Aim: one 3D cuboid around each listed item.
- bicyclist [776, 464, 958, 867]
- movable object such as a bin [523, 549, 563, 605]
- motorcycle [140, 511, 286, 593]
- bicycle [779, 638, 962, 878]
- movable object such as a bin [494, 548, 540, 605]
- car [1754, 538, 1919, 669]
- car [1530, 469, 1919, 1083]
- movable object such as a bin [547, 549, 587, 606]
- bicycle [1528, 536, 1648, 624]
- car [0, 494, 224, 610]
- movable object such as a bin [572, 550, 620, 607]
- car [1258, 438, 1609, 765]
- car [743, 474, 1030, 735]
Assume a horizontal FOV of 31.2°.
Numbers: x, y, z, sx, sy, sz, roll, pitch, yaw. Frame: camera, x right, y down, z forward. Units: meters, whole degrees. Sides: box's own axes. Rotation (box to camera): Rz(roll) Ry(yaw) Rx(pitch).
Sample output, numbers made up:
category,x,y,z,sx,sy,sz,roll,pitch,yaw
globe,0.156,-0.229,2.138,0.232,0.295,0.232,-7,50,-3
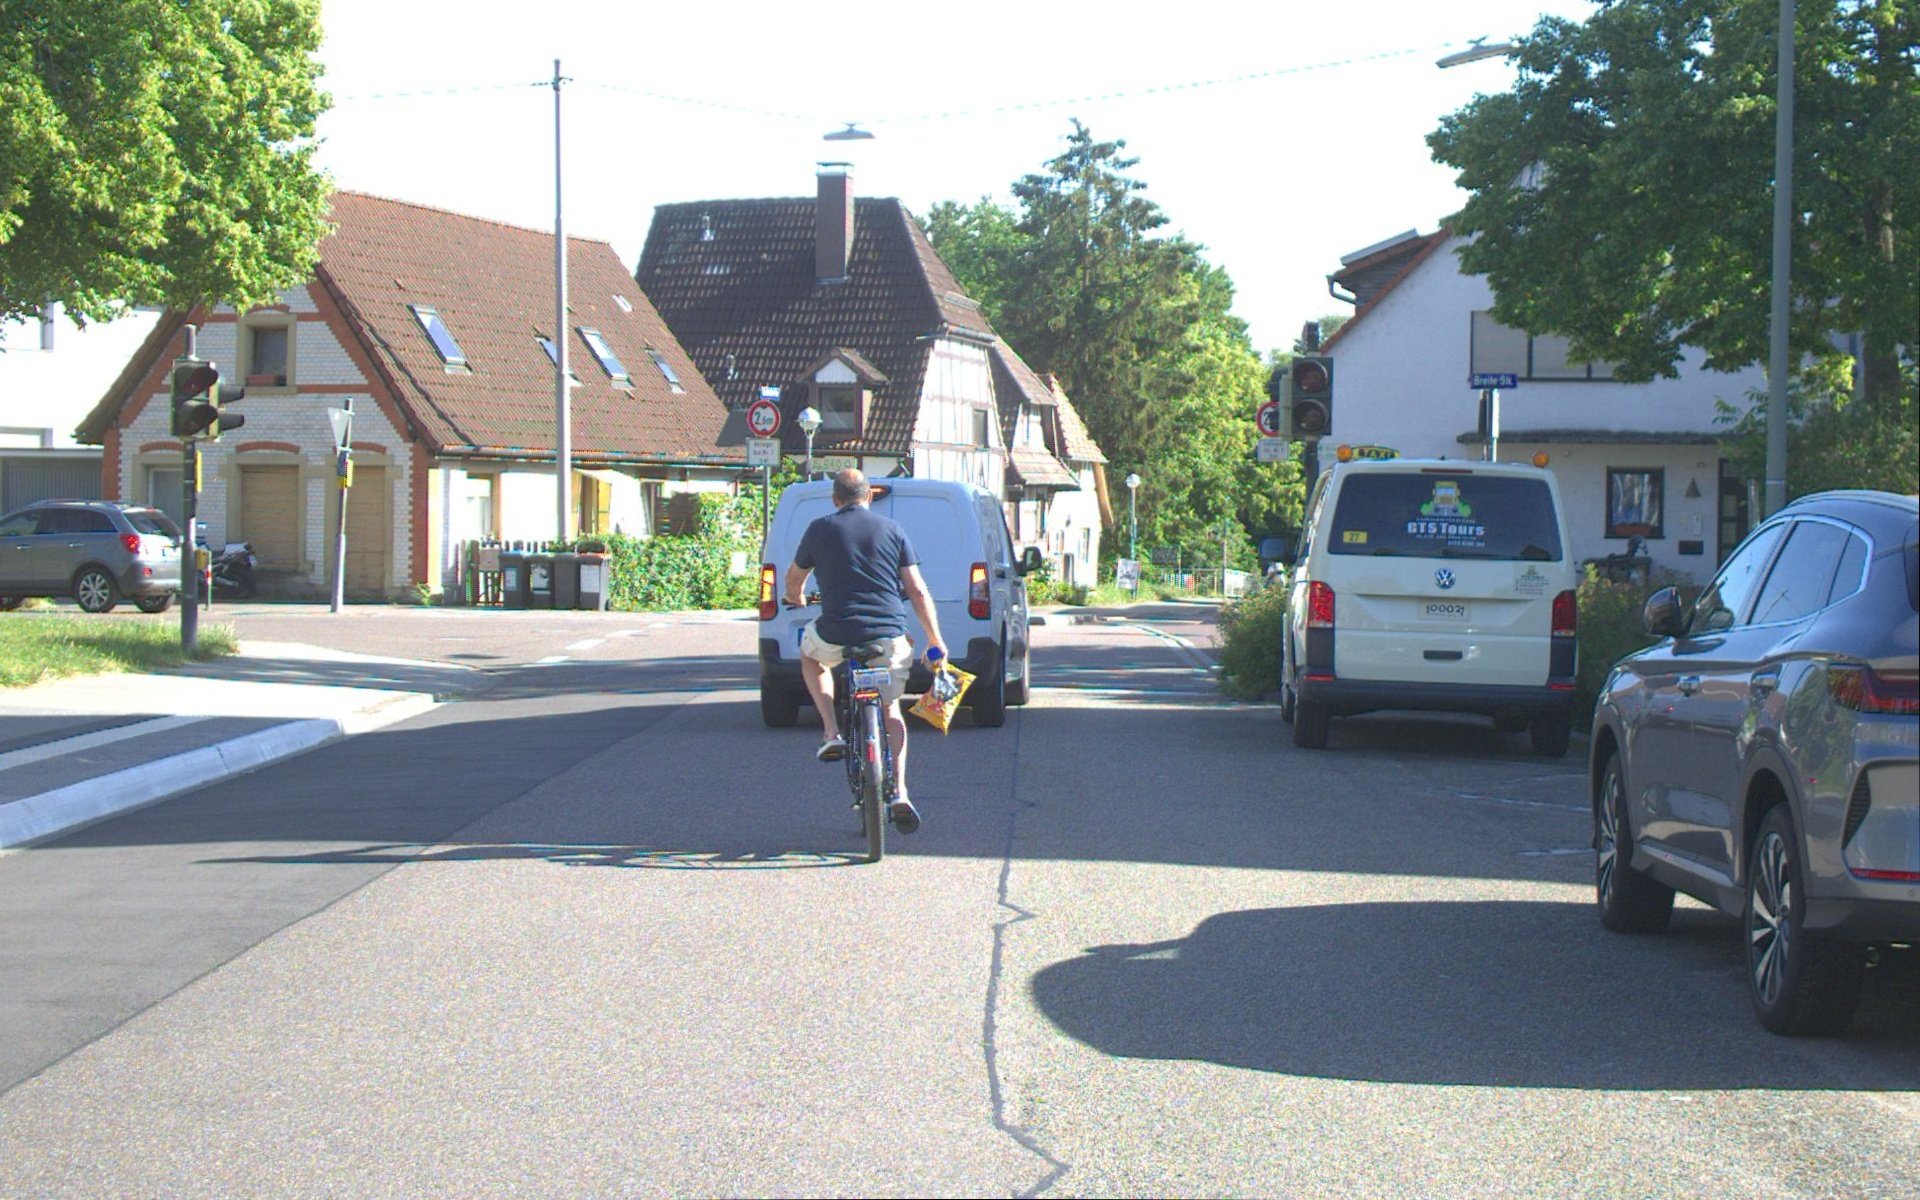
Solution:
category,x,y,z,sx,sy,sz,roll,pitch,yaw
bicyclist,-0.430,0.283,15.776,0.764,1.782,0.853,2,1,-2
movable object such as a bin,-6.880,-0.382,56.719,0.412,0.903,0.625,2,2,20
motorcycle,-12.455,-0.809,57.344,2.244,1.290,0.882,1,4,21
bicycle,-0.426,0.690,15.862,0.774,0.937,2.291,0,2,-2
movable object such as a bin,-7.333,-0.389,56.922,0.508,0.921,0.625,2,2,20
car,11.447,0.003,44.741,1.994,1.416,4.800,2,3,11
car,3.400,0.467,12.014,1.957,1.732,4.577,2,1,-1
movable object such as a bin,-6.461,-0.369,56.577,0.411,0.921,0.625,2,2,20
bicycle,9.520,-0.306,52.124,1.738,1.279,0.700,2,1,10
car,-13.903,-0.772,53.863,4.225,1.719,1.943,2,1,20
movable object such as a bin,-5.975,-0.354,56.402,0.556,0.921,0.625,2,2,20
car,3.266,-0.029,24.593,1.994,2.072,4.578,1,1,2
car,-0.483,-0.050,26.815,1.957,1.841,4.560,1,2,2
